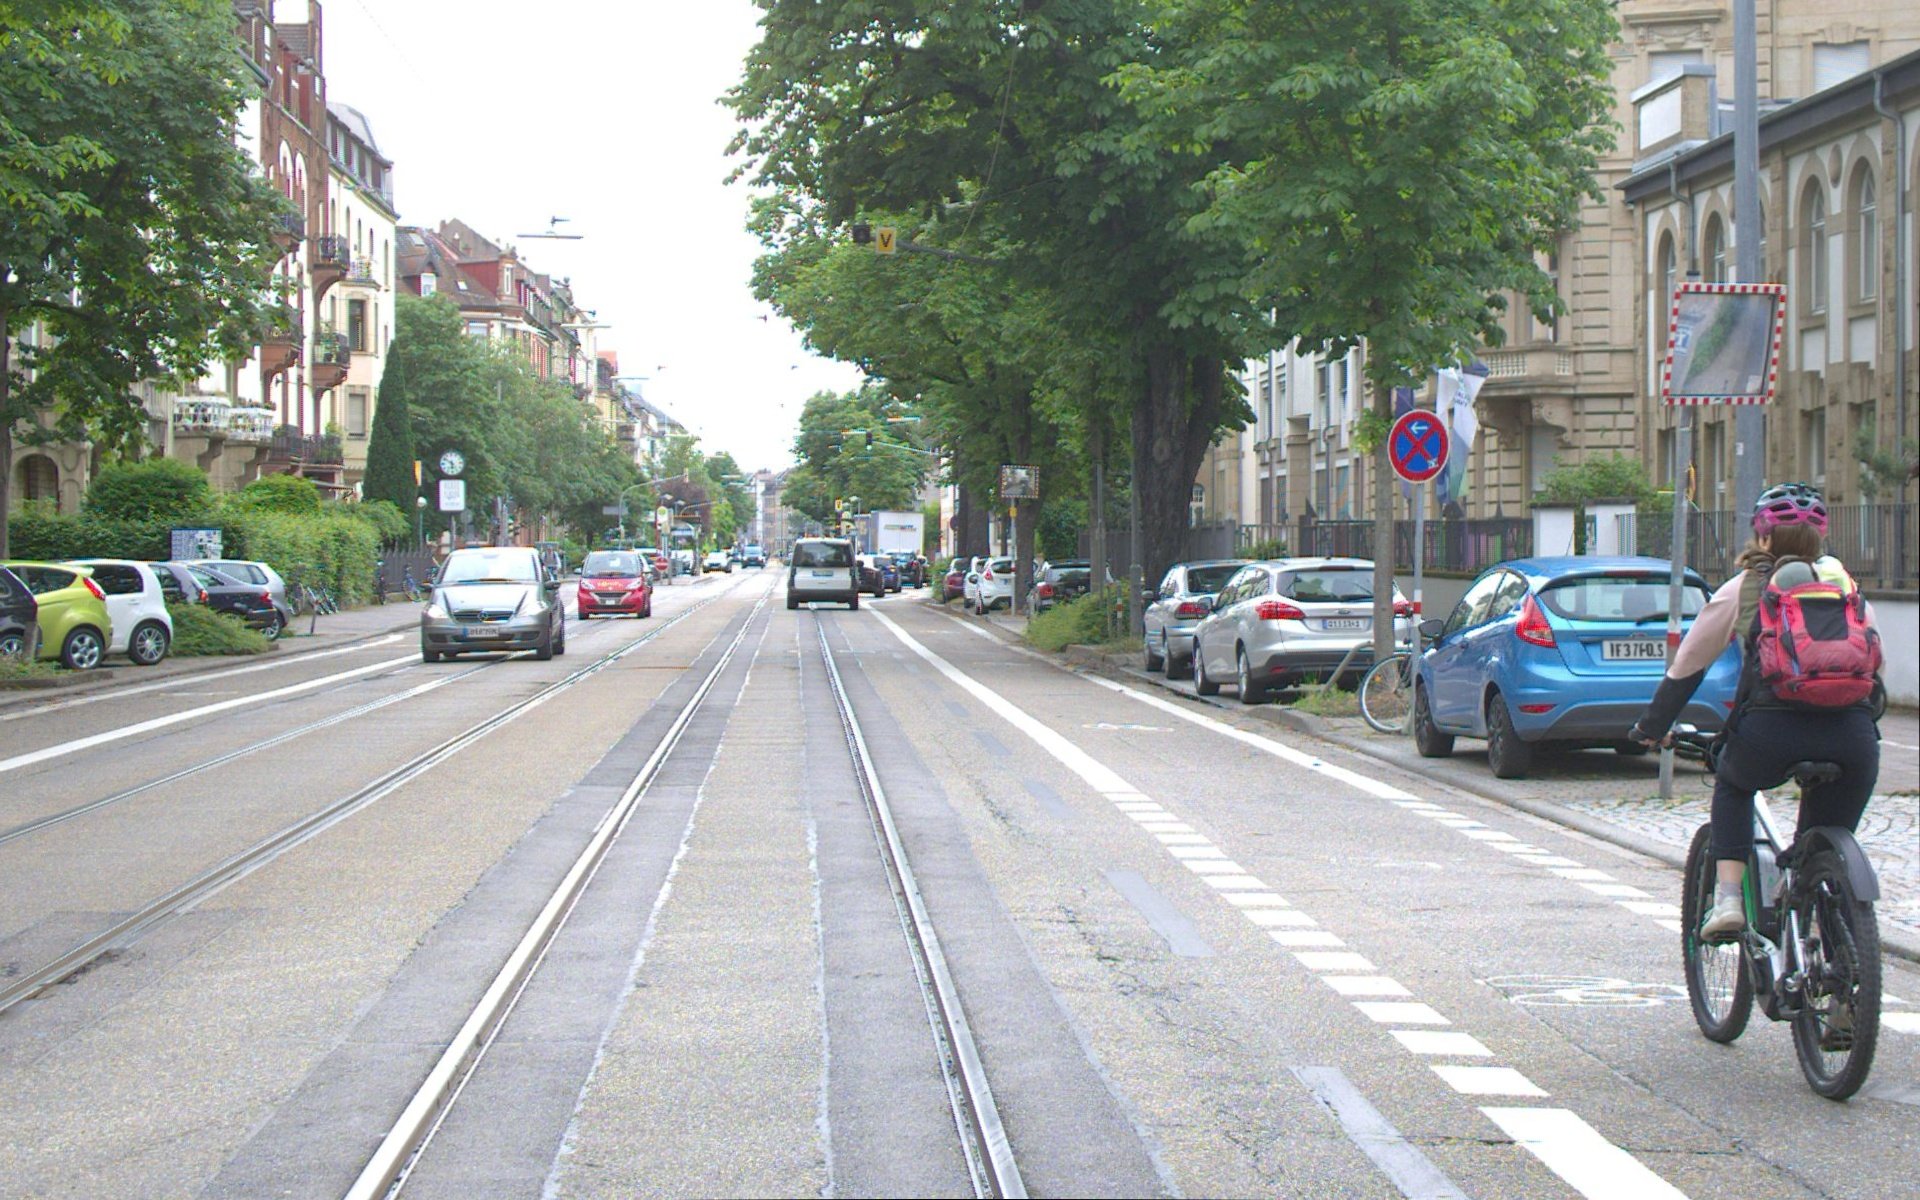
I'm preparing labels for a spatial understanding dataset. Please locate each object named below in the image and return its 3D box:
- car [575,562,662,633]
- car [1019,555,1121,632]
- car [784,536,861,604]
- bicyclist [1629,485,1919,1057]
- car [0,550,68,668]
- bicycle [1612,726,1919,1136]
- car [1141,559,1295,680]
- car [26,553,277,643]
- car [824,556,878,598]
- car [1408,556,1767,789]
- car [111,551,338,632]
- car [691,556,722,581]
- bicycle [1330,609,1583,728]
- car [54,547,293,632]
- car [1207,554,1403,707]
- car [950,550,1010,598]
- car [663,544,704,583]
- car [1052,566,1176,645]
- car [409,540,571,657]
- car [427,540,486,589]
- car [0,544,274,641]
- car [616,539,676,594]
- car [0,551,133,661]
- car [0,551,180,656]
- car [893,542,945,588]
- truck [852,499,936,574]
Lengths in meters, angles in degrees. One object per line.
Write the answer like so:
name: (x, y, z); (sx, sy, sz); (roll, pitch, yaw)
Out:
car: (-7.555, -0.057, 76.248); (1.676, 1.517, 2.782); (1, 0, -1)
car: (2.073, -0.142, 65.455); (1.791, 1.394, 3.795); (0, 1, 0)
car: (-3.516, -0.768, 88.458); (1.812, 1.702, 3.699); (1, 0, 0)
bicyclist: (2.398, 0.473, 10.110); (0.658, 1.605, 0.920); (0, 1, -1)
car: (-12.455, 0.080, 39.505); (1.699, 1.347, 3.958); (2, 1, 42)
bicycle: (2.428, 0.934, 10.319); (0.489, 0.976, 2.058); (1, 1, -1)
car: (3.178, 0.212, 42.863); (1.475, 1.424, 3.566); (0, 1, -3)
car: (-13.303, -0.031, 56.565); (3.707, 1.381, 1.700); (1, 1, -26)
car: (-3.783, -0.817, 119.701); (1.770, 1.394, 3.795); (0, 1, 0)
car: (4.258, 0.447, 23.812); (1.674, 1.455, 3.433); (1, 1, -3)
car: (-13.408, -0.149, 62.666); (3.707, 1.381, 1.700); (1, 1, -26)
car: (-17.304, -2.146, 235.150); (1.772, 1.638, 3.566); (0, 1, 1)
bicycle: (4.128, 0.560, 28.607); (2.012, 0.953, 0.534); (0, 1, -6)
car: (-13.590, -0.182, 59.426); (3.707, 1.381, 1.700); (1, 1, -26)
car: (3.536, 0.278, 35.714); (1.475, 1.476, 3.566); (1, 1, -3)
car: (0.599, -0.800, 104.591); (1.770, 1.394, 3.795); (0, 1, 0)
car: (-15.875, -2.108, 197.688); (2.205, 2.248, 4.001); (0, 1, -3)
car: (2.533, 0.069, 57.401); (1.873, 1.247, 4.000); (0, 1, 0)
car: (-6.552, -0.051, 48.297); (1.900, 1.525, 3.755); (-1, 1, -3)
car: (-23.188, -1.637, 158.464); (2.177, 2.199, 4.219); (0, 1, -2)
car: (-12.334, -0.111, 51.030); (1.699, 1.347, 3.958); (2, 1, 42)
car: (-14.015, -1.510, 153.554); (2.205, 2.409, 4.000); (0, 1, 1)
car: (-12.510, 0.057, 42.939); (1.699, 1.347, 3.958); (2, 1, 42)
car: (-12.575, 0.037, 45.847); (1.699, 1.347, 3.958); (2, 1, 42)
car: (-1.622, -1.382, 134.485); (1.993, 1.787, 4.000); (0, 1, -1)
truck: (-3.694, -3.492, 189.288); (3.807, 4.016, 10.220); (0, 1, -6)
